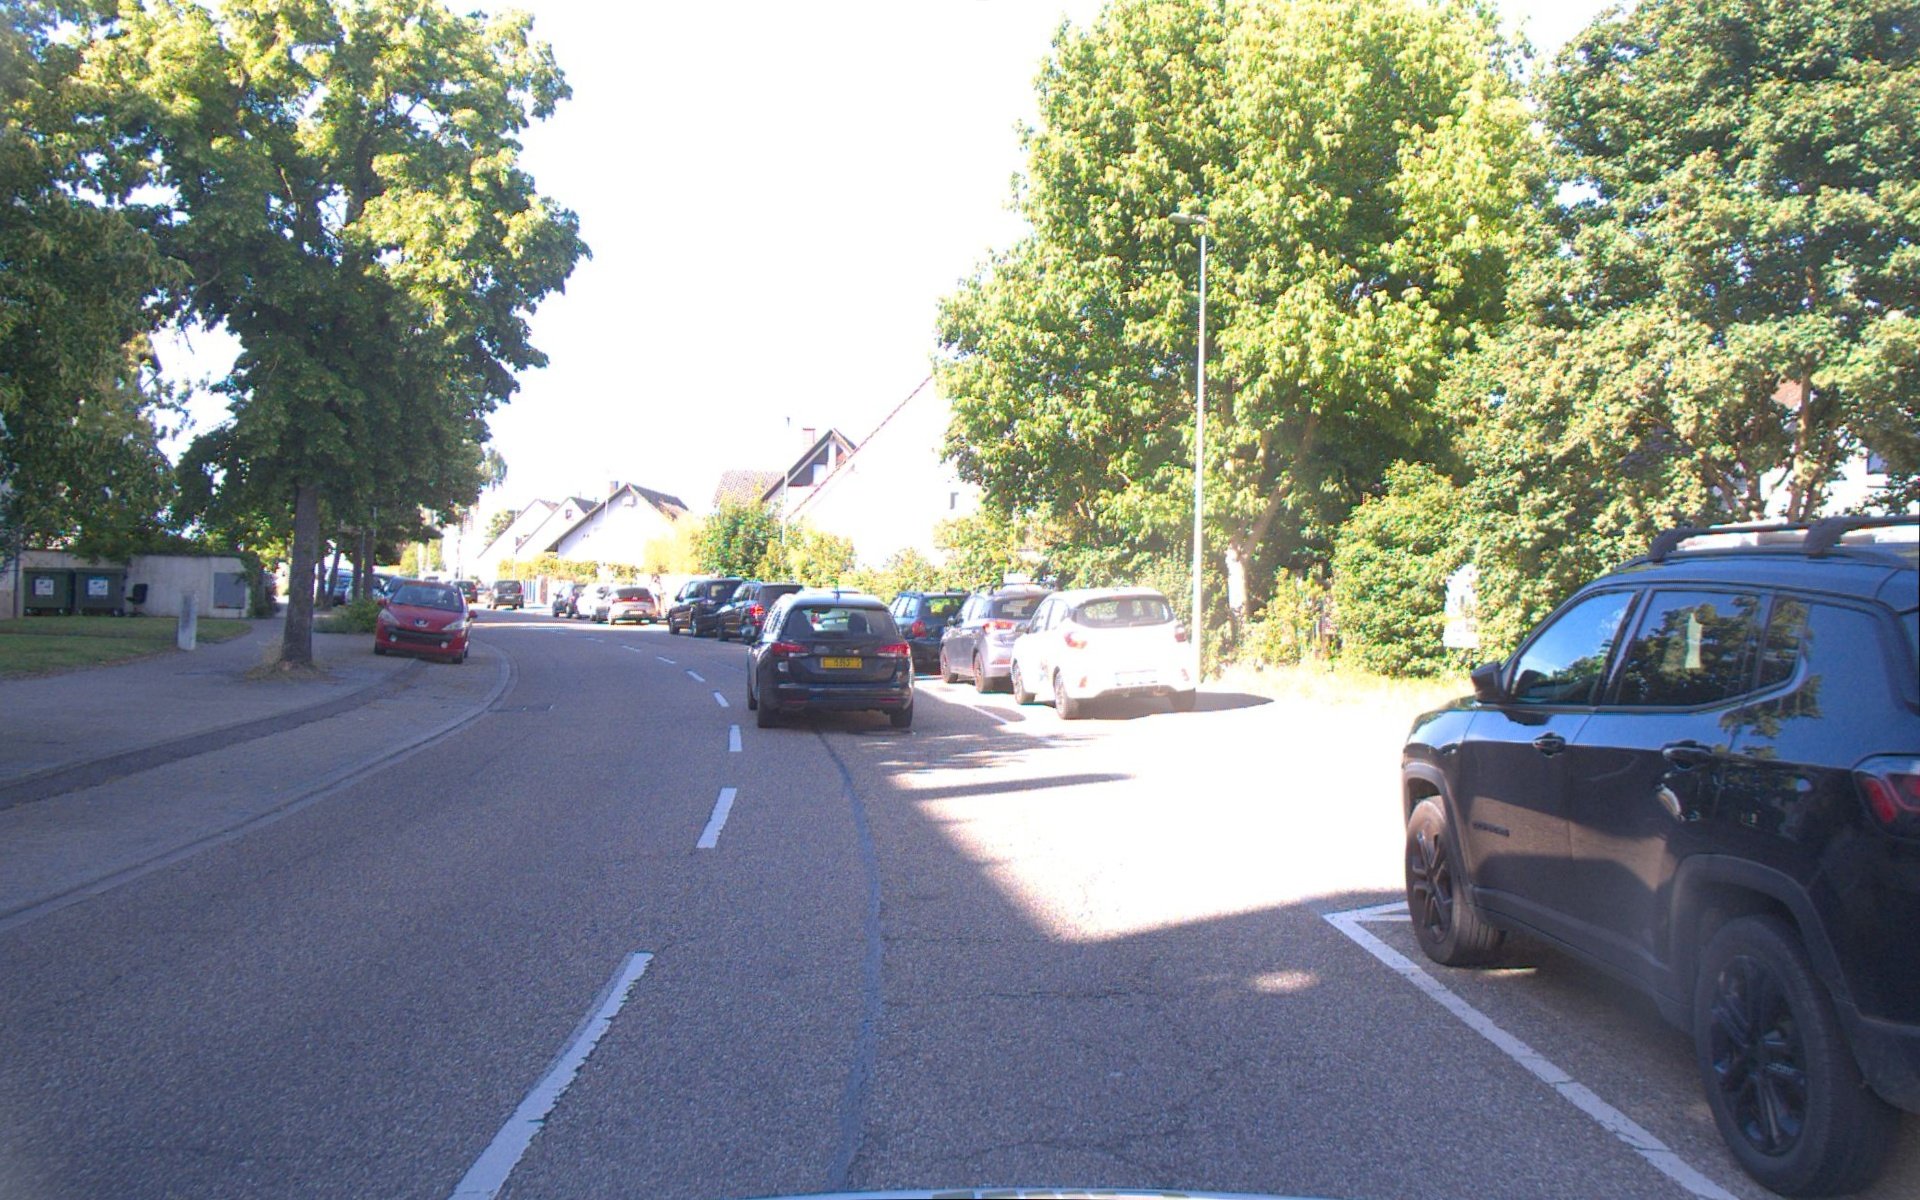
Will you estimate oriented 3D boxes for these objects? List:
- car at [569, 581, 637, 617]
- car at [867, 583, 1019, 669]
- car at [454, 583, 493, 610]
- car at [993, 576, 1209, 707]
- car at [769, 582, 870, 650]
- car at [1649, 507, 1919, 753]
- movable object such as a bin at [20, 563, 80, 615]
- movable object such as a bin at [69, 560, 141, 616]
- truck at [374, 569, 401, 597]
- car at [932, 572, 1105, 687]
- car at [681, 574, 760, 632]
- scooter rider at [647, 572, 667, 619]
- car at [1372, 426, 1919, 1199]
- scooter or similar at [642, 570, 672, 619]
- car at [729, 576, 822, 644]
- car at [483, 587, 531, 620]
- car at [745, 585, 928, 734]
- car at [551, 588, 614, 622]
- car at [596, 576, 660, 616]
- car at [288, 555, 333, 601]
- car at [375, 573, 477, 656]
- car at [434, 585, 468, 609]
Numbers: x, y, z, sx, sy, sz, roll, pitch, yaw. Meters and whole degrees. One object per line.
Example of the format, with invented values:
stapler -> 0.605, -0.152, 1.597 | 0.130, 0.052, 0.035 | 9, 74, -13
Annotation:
car -> -14.978, -0.019, 69.183 | 1.892, 1.432, 4.260 | 1, -1, -25
car -> -0.402, 0.482, 31.377 | 1.971, 1.501, 4.279 | 1, -1, -13
car -> -32.812, -0.224, 111.486 | 1.979, 1.754, 4.262 | 1, -1, -24
car -> 1.701, 0.505, 21.447 | 1.729, 1.506, 4.283 | 1, -1, -10
car -> -3.507, 0.387, 40.634 | 1.789, 1.561, 4.243 | 1, -1, -14
car -> 8.883, 0.284, 14.759 | 4.583, 2.018, 2.143 | 1, -1, 2
movable object such as a bin -> -24.889, -0.296, 45.243 | 1.152, 1.345, 1.084 | 1, -2, -14
movable object such as a bin -> -23.548, -0.315, 45.589 | 1.492, 1.452, 1.084 | 1, -2, -14
truck -> -59.011, -1.754, 170.389 | 2.176, 2.645, 5.107 | 2, -2, -23
car -> 0.823, 0.420, 26.061 | 1.876, 1.628, 4.284 | 1, 0, -10
car -> -7.428, 0.110, 50.960 | 1.872, 1.695, 4.173 | 1, -1, -16
scooter rider -> -13.348, -0.195, 72.769 | 0.676, 2.049, 0.814 | 2, -2, -23
car -> 2.879, 0.528, 5.585 | 1.742, 1.754, 4.292 | 1, -1, -2
scooter or similar -> -13.335, -0.233, 72.775 | 0.676, 2.049, 2.942 | 2, -2, -22
car -> -5.121, 0.268, 45.562 | 1.972, 1.754, 4.278 | 1, -1, -14
car -> -25.528, 0.196, 93.176 | 1.979, 1.754, 4.262 | 1, -1, -24
car -> -1.574, 0.644, 19.670 | 1.729, 1.517, 4.281 | 3, -1, -10
car -> -16.802, 0.208, 73.423 | 1.892, 1.432, 4.260 | 1, -1, -25
car -> -12.705, -0.127, 63.175 | 1.887, 1.432, 4.271 | 1, -1, -19
car -> -35.614, -1.211, 90.782 | 1.878, 2.207, 4.266 | 9, -2, -19
car -> -10.757, 0.277, 33.543 | 1.660, 1.517, 4.274 | 3, -1, -15
car -> -38.385, -0.227, 124.712 | 1.979, 1.754, 4.262 | 1, -1, -24
